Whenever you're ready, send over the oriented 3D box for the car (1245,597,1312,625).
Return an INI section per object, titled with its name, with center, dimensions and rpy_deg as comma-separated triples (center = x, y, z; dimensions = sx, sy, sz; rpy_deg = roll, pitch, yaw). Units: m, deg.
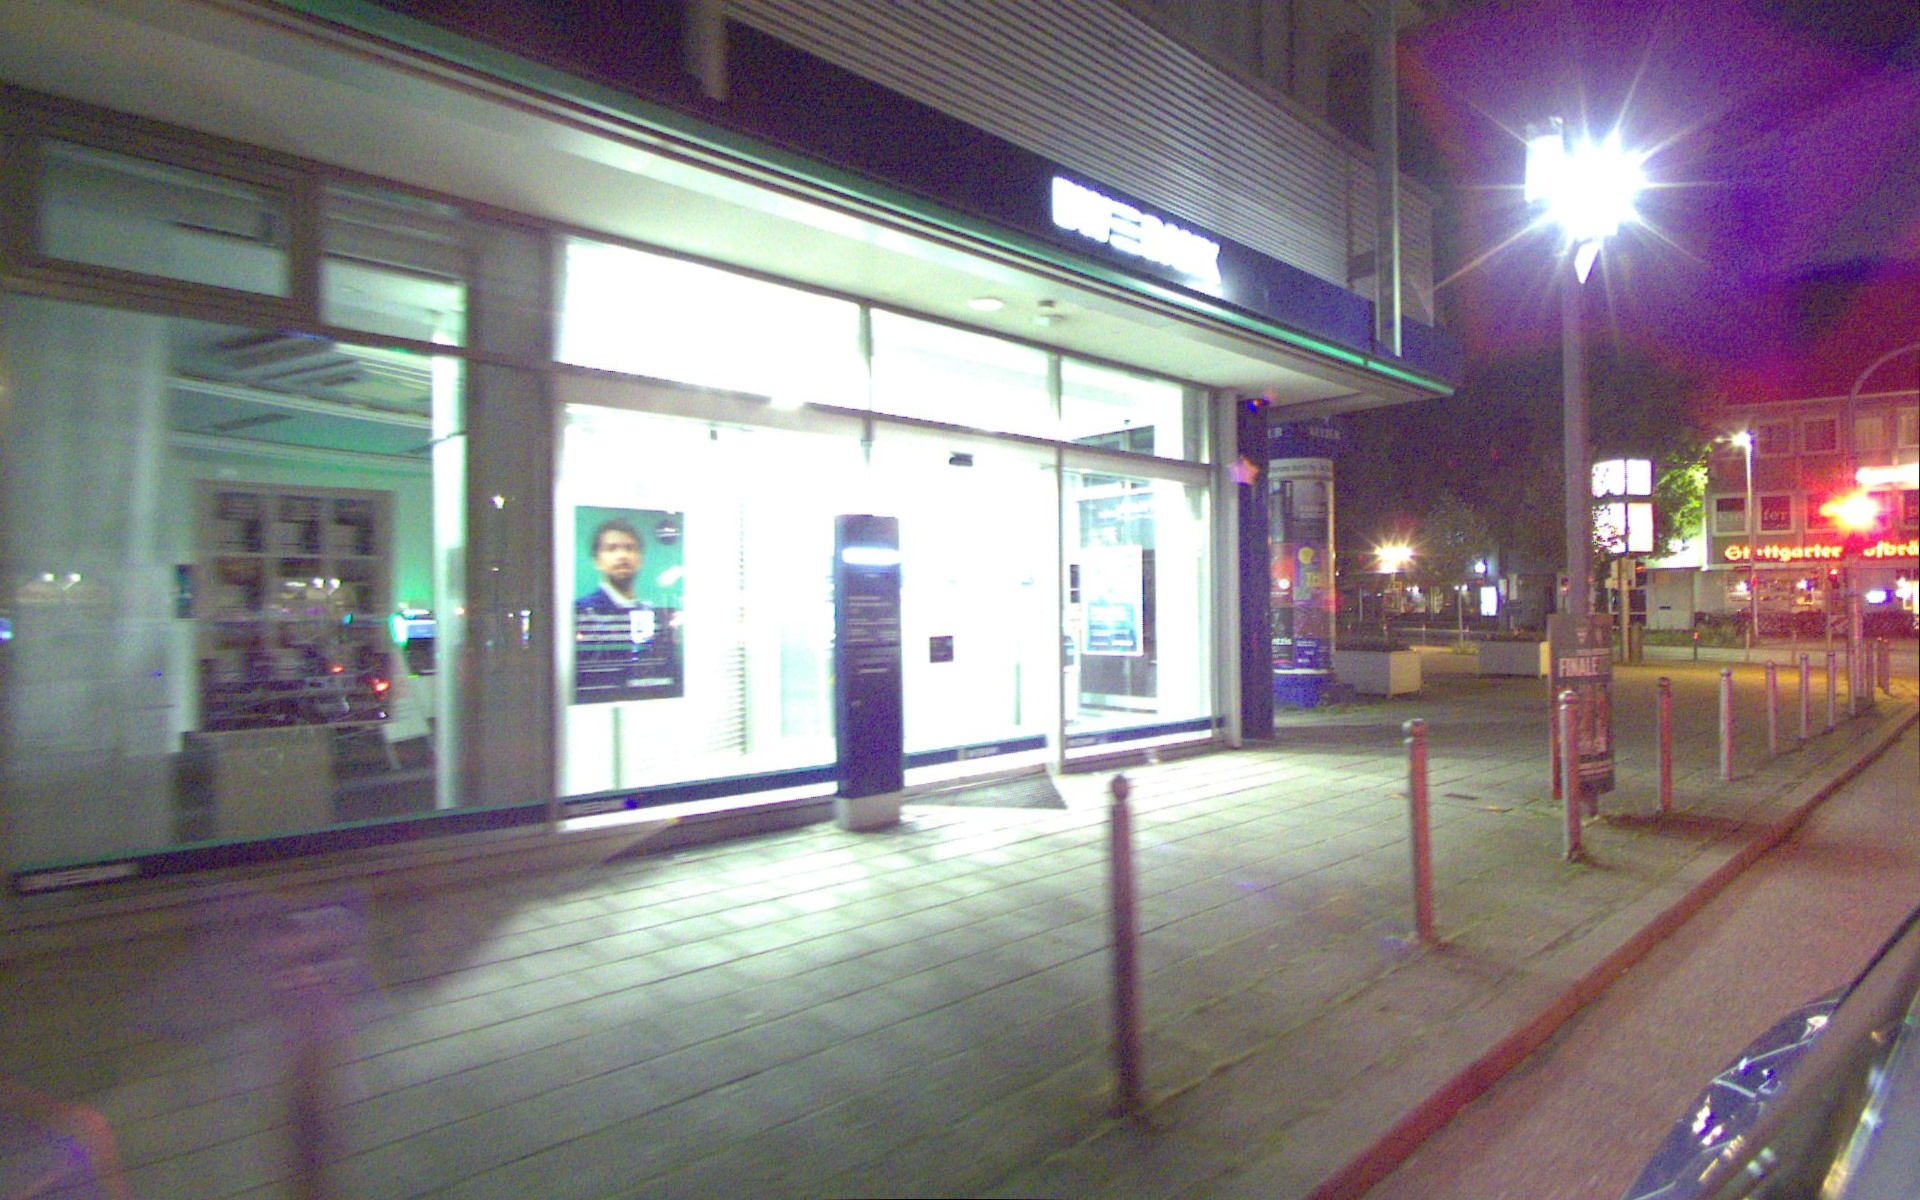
[car]
center = 20.084, 0.706, 63.960
dimensions = 1.836, 1.674, 3.869
rpy_deg = 2, 0, -27
